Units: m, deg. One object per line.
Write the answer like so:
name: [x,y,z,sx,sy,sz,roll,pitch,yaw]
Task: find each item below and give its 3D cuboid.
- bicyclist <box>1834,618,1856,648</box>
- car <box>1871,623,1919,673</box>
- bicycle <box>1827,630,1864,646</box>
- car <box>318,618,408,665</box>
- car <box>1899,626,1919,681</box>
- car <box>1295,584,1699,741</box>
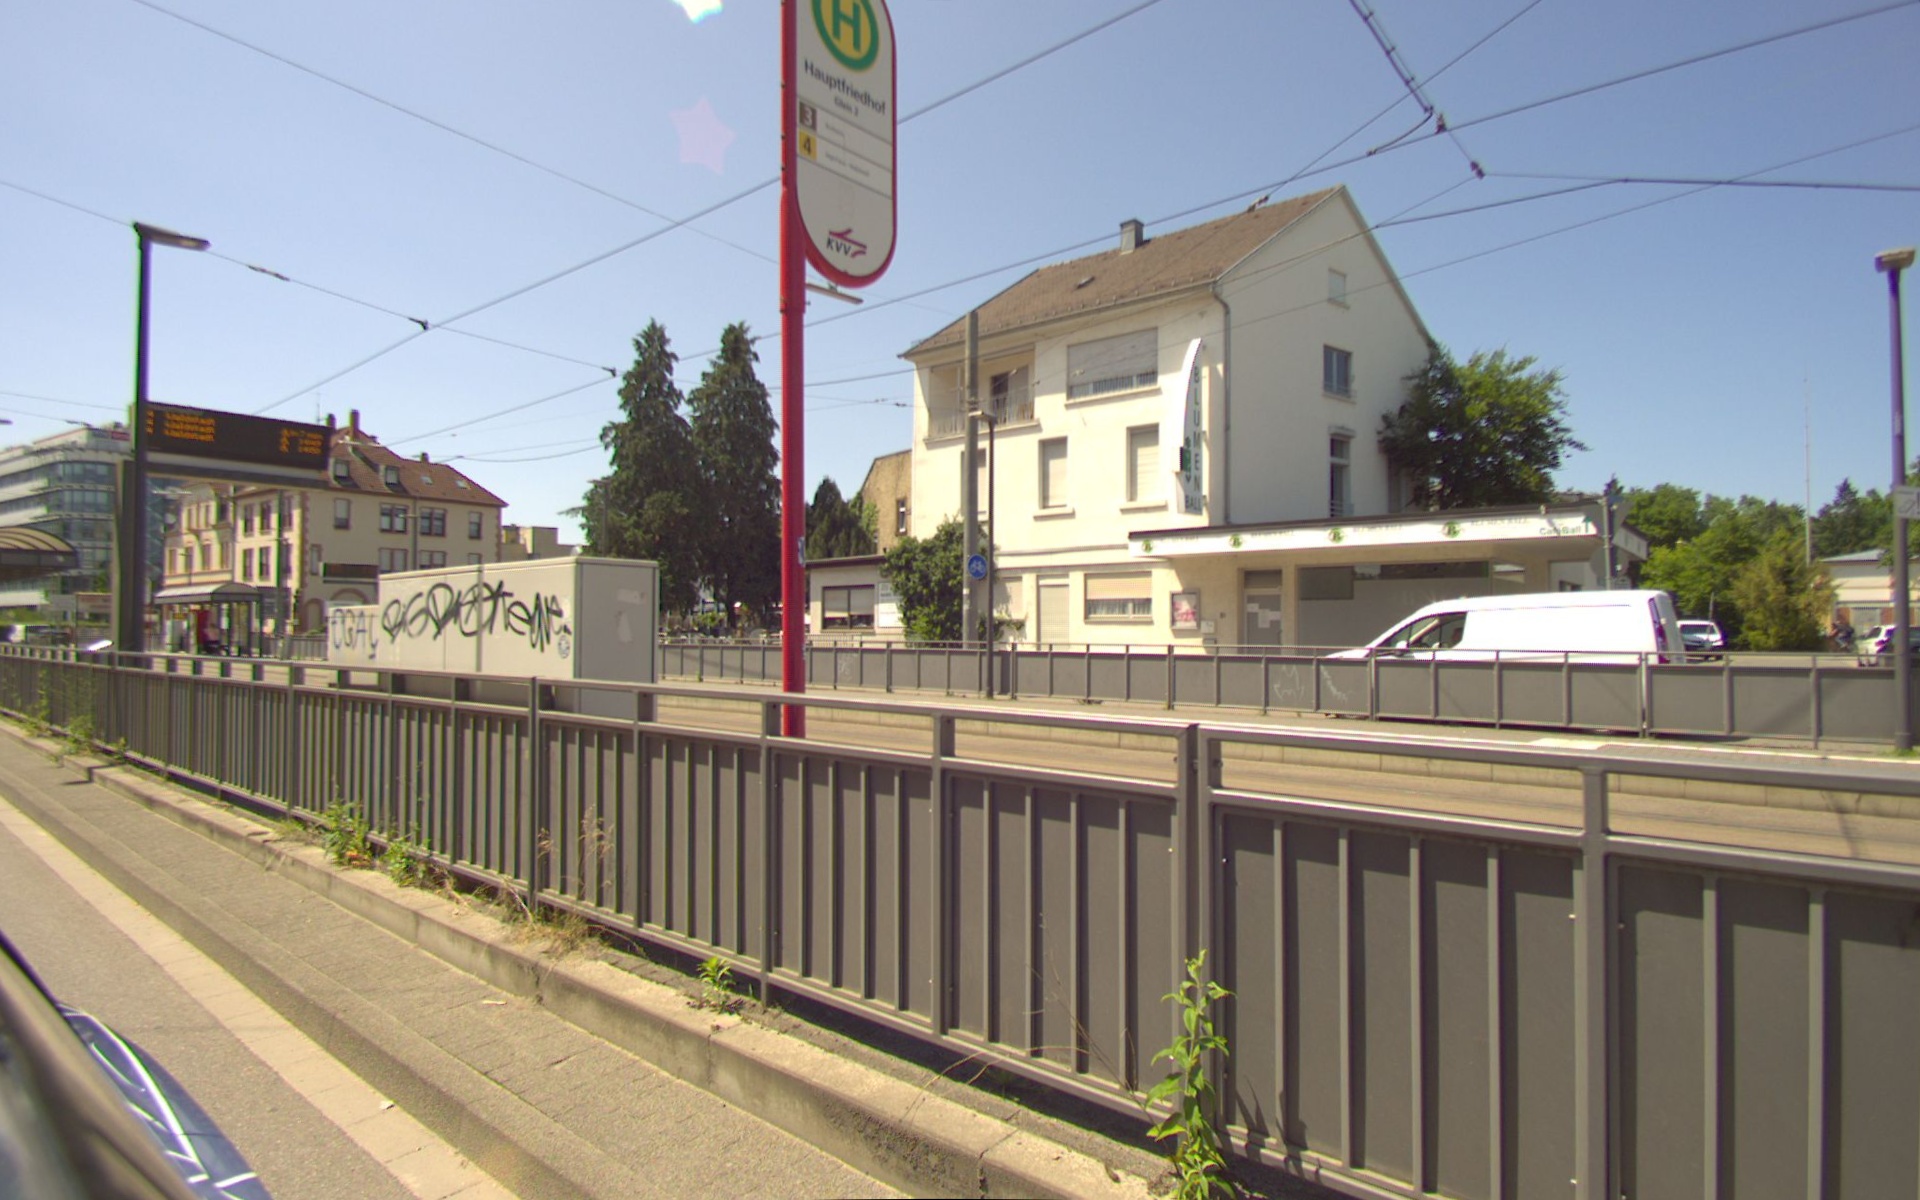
bicyclist: [43.498,1.618,49.736,0.619,1.446,0.525,-1,-2,23]
car: [29.547,1.501,31.492,1.644,1.457,3.761,-2,-3,41]
bicycle: [43.525,1.854,49.771,0.614,0.793,2.178,-1,-2,21]
car: [-24.858,1.706,42.096,3.996,1.852,1.974,-2,-2,39]
car: [25.778,1.409,26.485,1.644,1.381,3.760,-2,-3,42]
car: [7.311,0.817,14.107,4.695,1.831,1.836,-2,-3,40]
